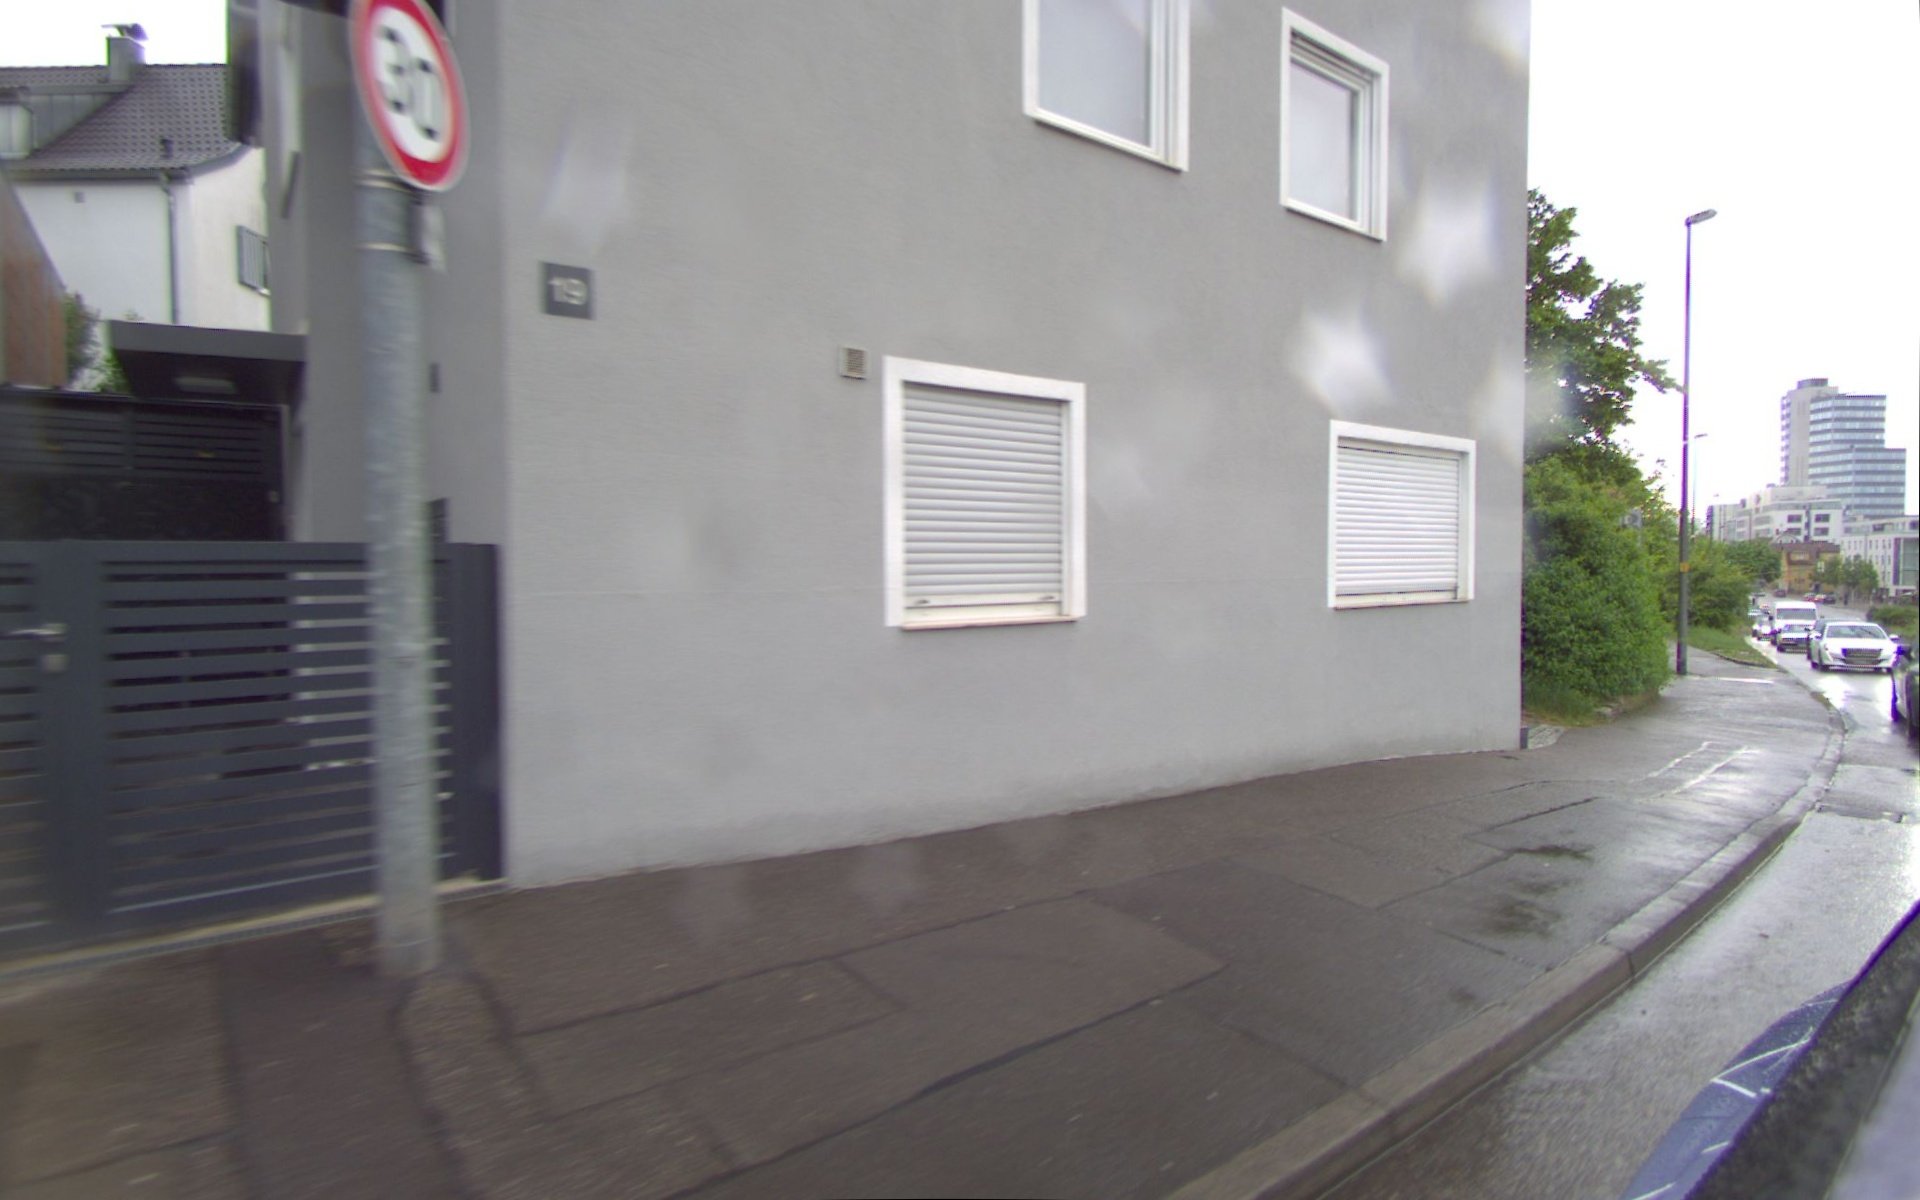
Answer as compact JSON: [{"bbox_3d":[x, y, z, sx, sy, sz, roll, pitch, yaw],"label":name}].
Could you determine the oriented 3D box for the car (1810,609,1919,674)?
[{"bbox_3d":[26.893,1.189,30.166,1.889,1.680,4.882,-3,-1,35],"label":"car"}]

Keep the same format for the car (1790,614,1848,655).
[{"bbox_3d":[39.502,1.579,46.618,1.893,1.745,4.399,1,-1,39],"label":"car"}]

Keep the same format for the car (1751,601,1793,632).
[{"bbox_3d":[54.522,1.123,68.033,2.020,1.961,4.877,1,-1,37],"label":"car"}]

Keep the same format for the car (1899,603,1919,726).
[{"bbox_3d":[13.434,0.824,12.948,1.831,1.533,4.776,0,-1,40],"label":"car"}]

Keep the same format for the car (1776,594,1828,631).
[{"bbox_3d":[47.395,0.742,57.048,2.020,1.961,4.877,1,-1,37],"label":"car"}]

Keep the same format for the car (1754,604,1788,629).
[{"bbox_3d":[66.073,1.339,82.480,2.020,1.961,4.877,1,-1,37],"label":"car"}]
